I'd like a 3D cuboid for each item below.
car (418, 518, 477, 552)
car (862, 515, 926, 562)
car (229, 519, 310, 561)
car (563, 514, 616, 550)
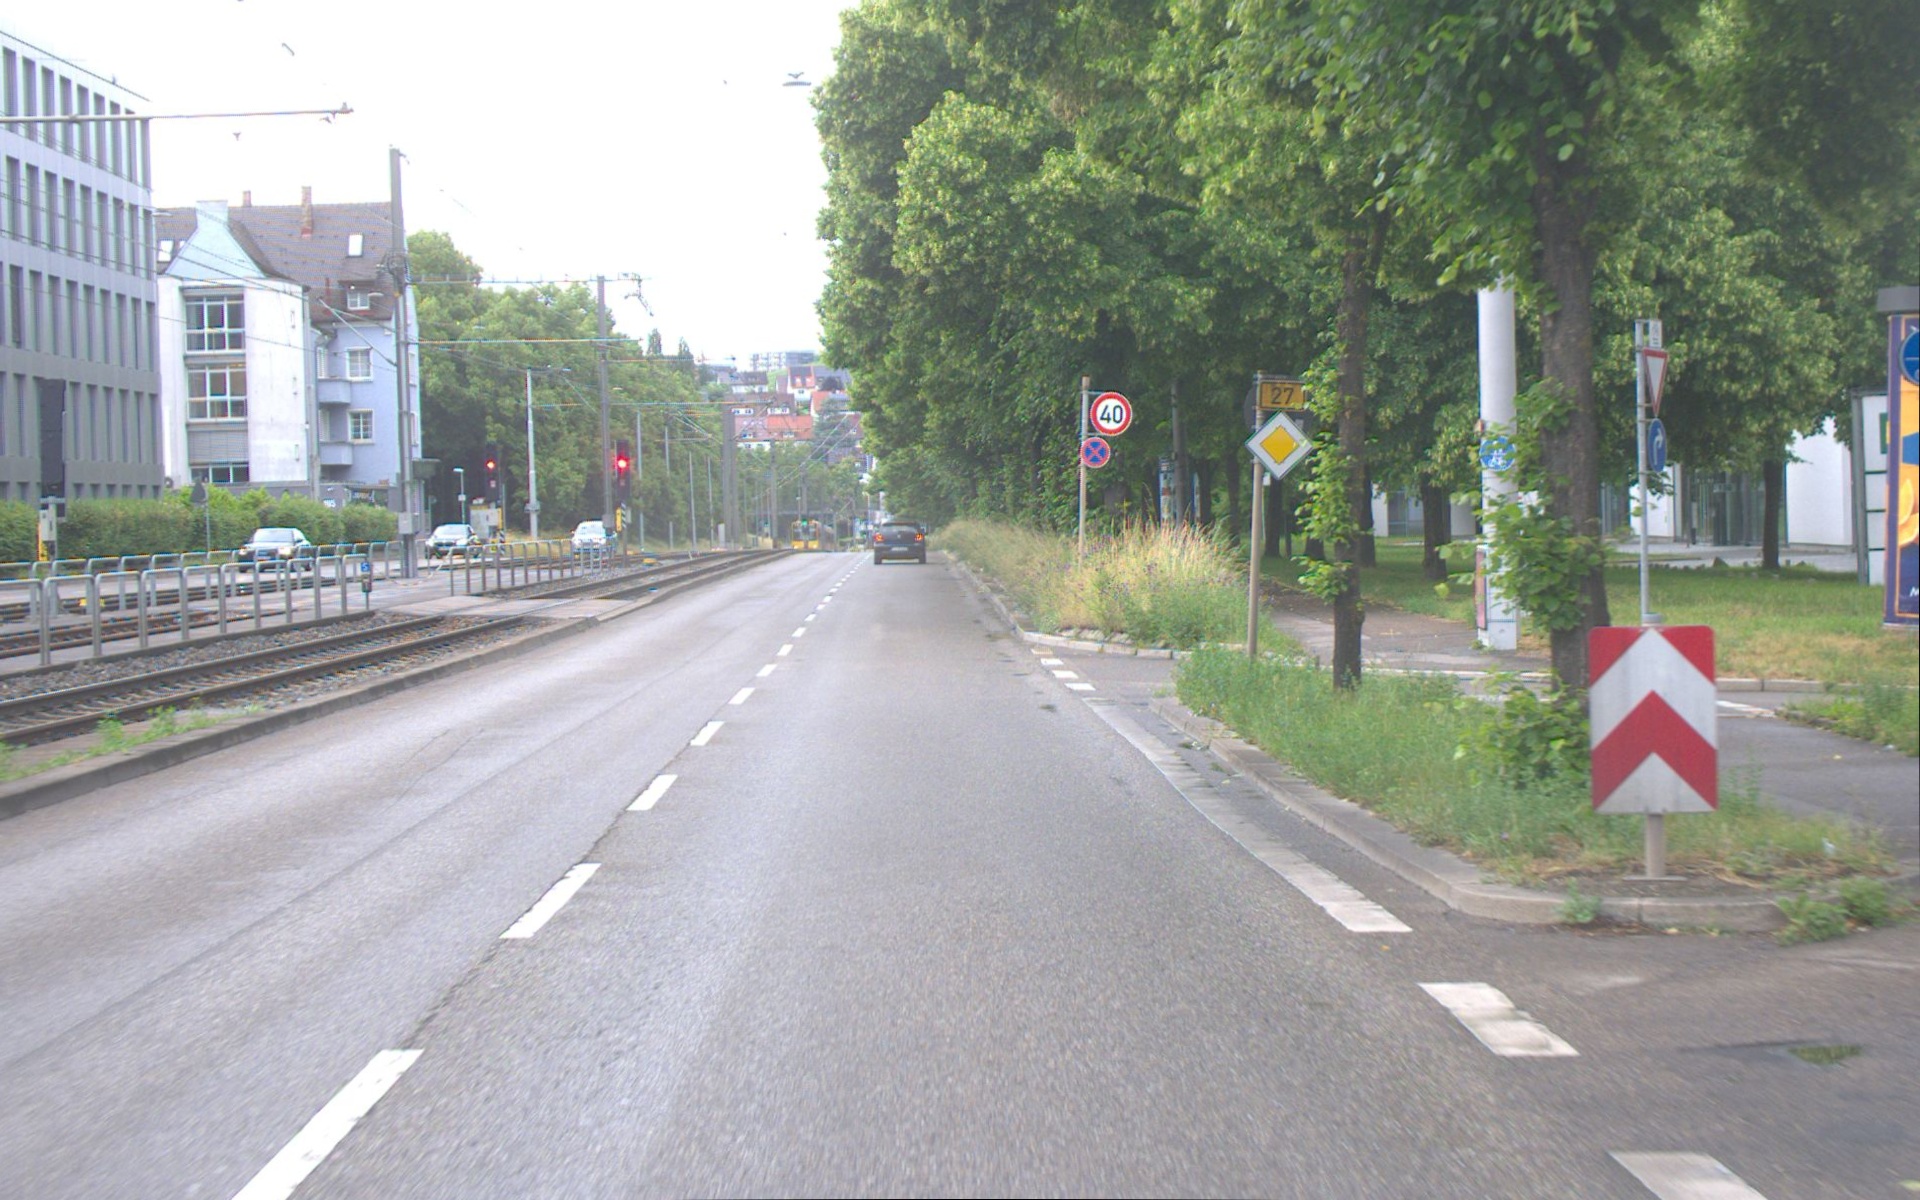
[{"bbox_3d":[-21.168,-2.703,142.123,1.798,1.342,4.260,-1,1,-1],"label":"car"},{"bbox_3d":[-2.125,-2.010,111.672,1.982,1.435,4.474,-1,1,-1],"label":"car"},{"bbox_3d":[-21.646,-1.894,107.918,1.756,1.239,3.988,-1,1,-1],"label":"car"},{"bbox_3d":[-17.654,-3.261,164.062,1.902,1.639,4.884,-1,1,1],"label":"car"}]
